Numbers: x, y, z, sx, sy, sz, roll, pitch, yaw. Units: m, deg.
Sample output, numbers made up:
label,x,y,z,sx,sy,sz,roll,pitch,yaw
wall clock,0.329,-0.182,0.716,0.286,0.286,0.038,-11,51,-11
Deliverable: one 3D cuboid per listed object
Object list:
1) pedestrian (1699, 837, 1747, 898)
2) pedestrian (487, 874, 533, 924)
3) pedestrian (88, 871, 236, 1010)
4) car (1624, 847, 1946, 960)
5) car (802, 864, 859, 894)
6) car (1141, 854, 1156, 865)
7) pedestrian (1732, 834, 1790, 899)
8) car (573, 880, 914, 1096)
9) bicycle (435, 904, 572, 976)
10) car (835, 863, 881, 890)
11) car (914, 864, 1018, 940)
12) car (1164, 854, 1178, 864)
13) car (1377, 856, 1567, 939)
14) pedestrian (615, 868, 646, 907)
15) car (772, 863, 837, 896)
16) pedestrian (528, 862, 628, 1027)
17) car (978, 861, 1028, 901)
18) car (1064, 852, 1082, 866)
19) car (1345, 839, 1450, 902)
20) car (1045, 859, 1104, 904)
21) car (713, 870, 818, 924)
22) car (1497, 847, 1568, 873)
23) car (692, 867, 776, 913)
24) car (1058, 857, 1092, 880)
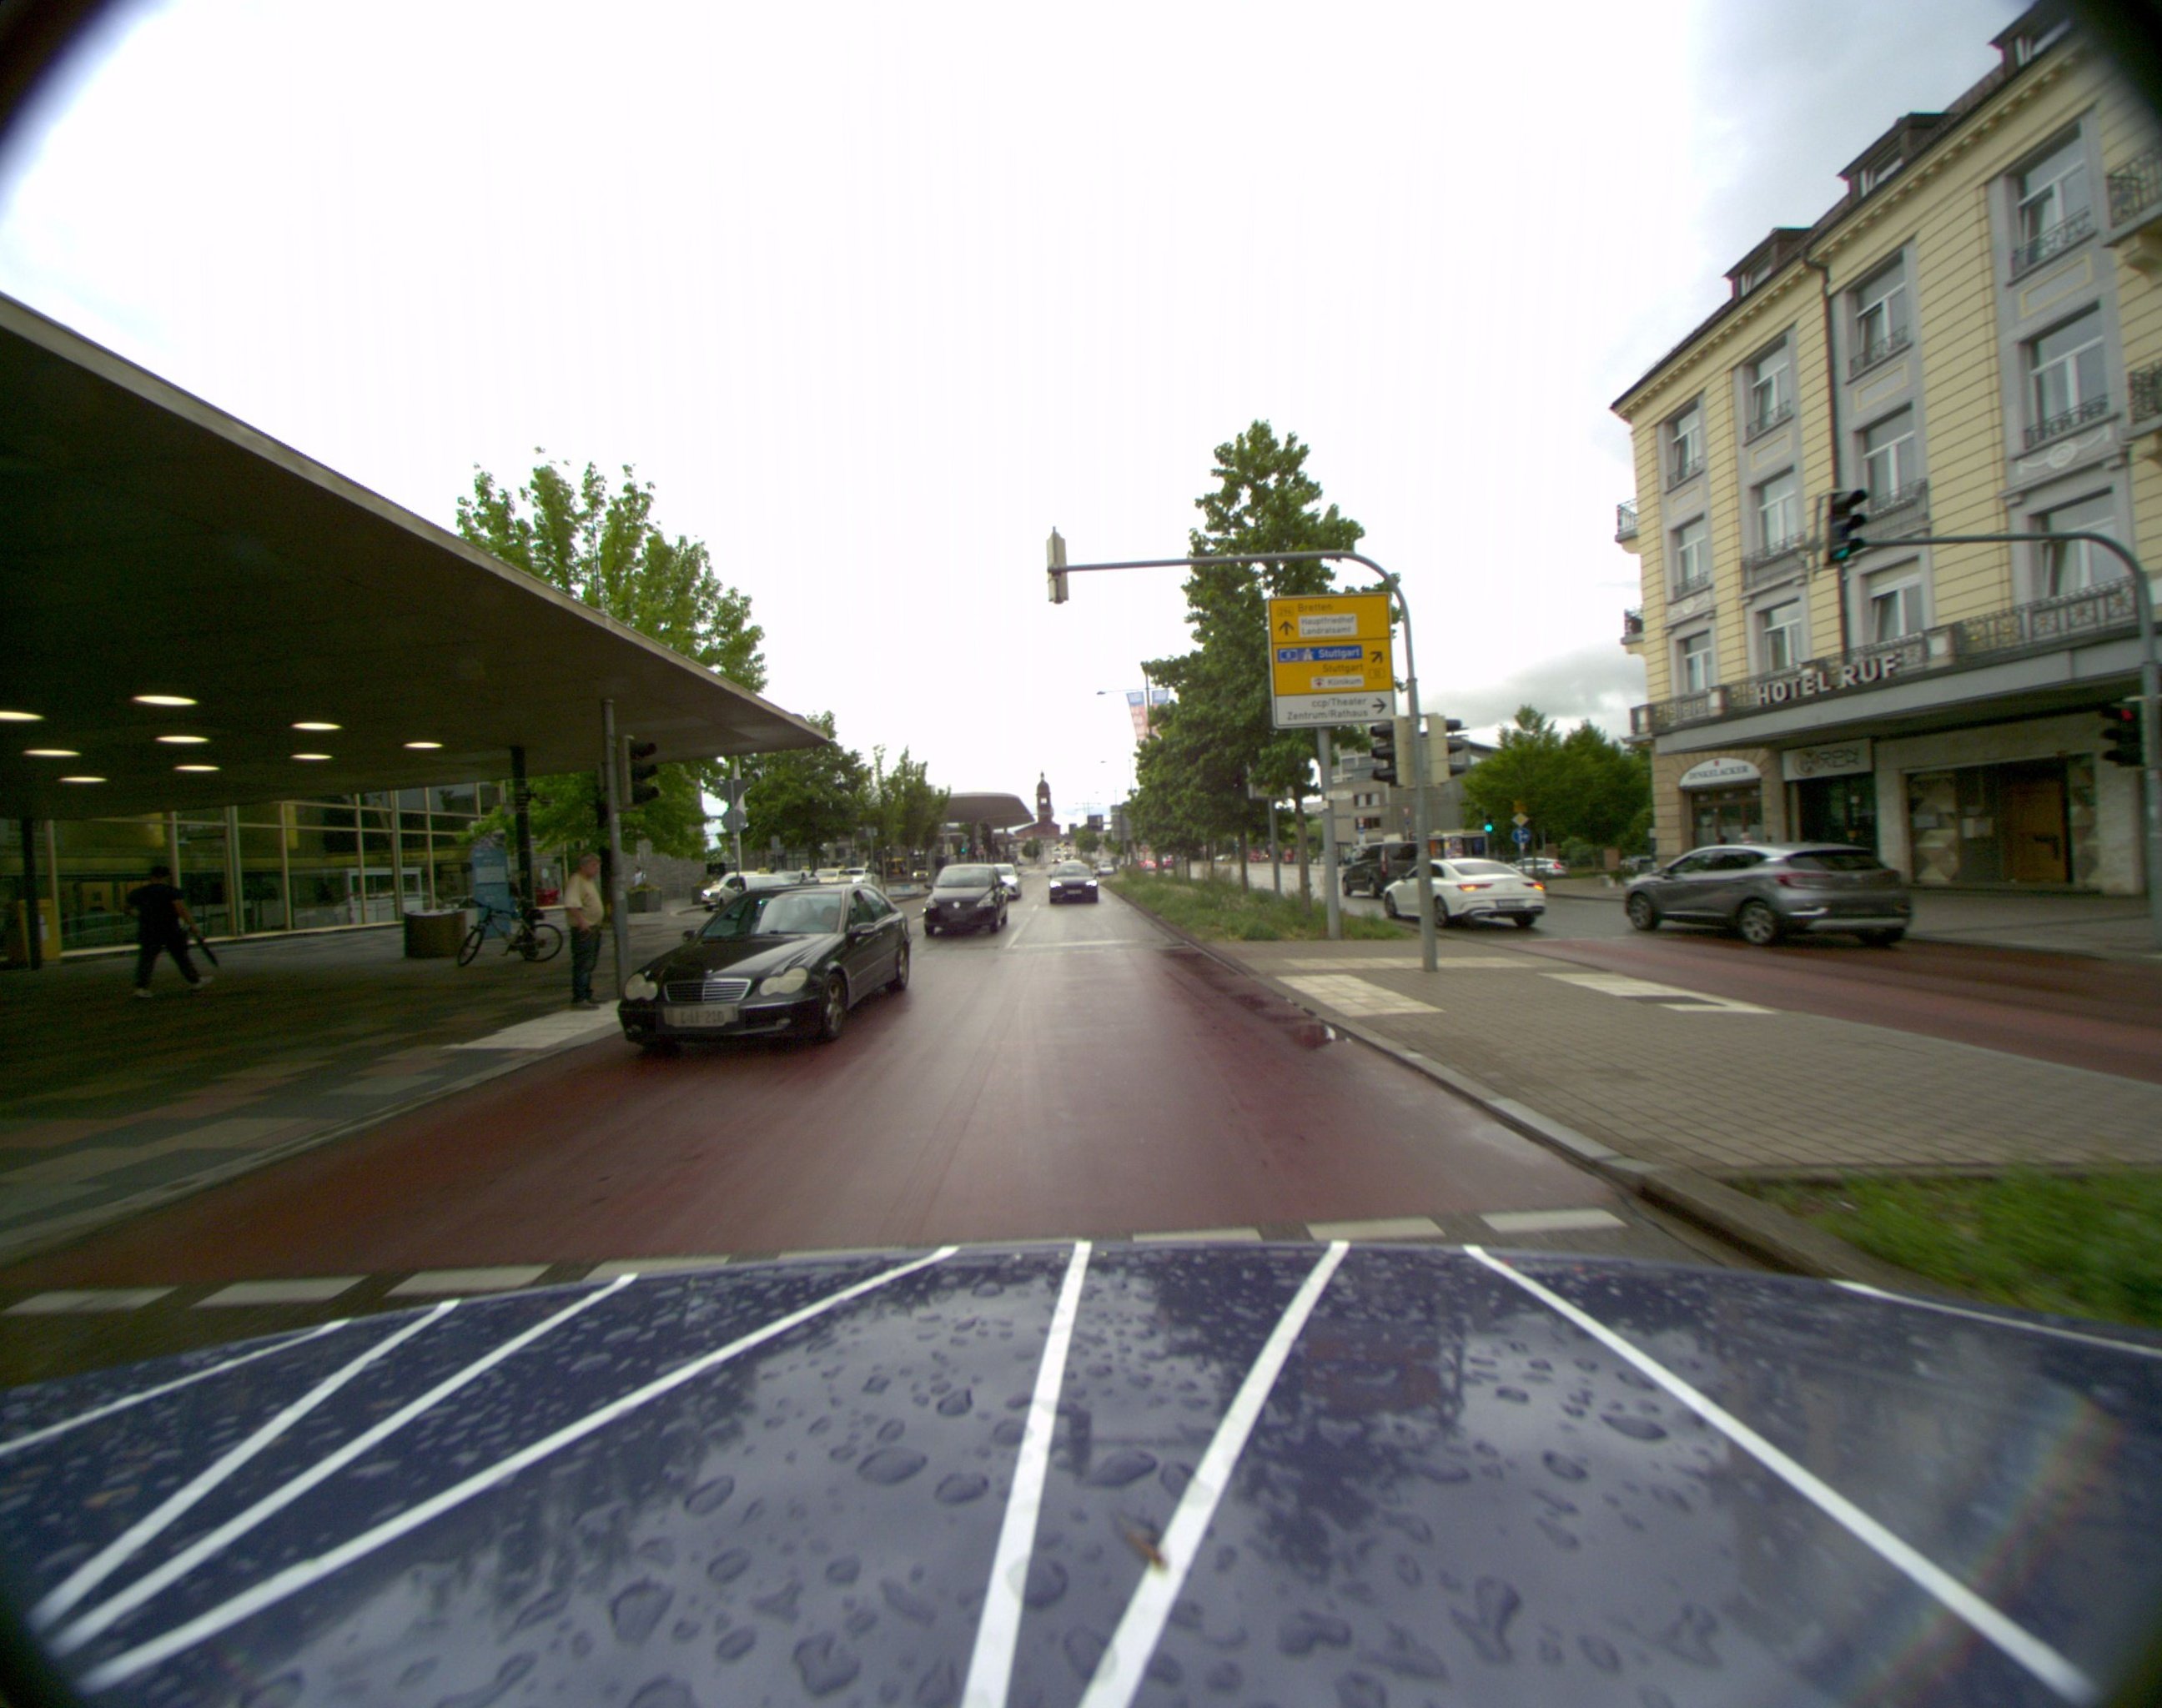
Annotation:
label,x,y,z,sx,sy,sz,roll,pitch,yaw
pedestrian,16.100,0.325,19.073,0.643,1.479,0.747,-3,0,19
pedestrian,-17.966,1.393,23.923,0.762,1.502,0.852,-2,1,1
pedestrian,-12.326,1.127,10.224,0.823,1.747,0.913,-2,1,7
car,10.989,0.686,12.308,1.767,1.499,3.843,-2,0,3
car,-14.300,1.400,43.640,1.820,1.482,4.464,-2,0,-2
car,9.879,0.798,110.867,1.983,1.438,3.909,-2,0,3
pedestrian,16.824,0.306,18.807,0.789,1.529,0.747,-3,0,19
car,-3.032,1.101,7.816,1.872,1.466,3.825,-2,0,-2
bicycle,-9.456,1.395,12.486,1.720,1.040,0.524,-1,1,-9
car,-14.355,1.405,49.173,1.820,1.581,4.076,-2,0,-2
car,-2.579,1.037,17.924,1.872,1.466,3.825,-2,0,-1
car,14.026,0.796,118.614,1.983,1.438,3.909,-2,0,3
car,8.112,0.818,16.309,1.846,1.455,4.373,-2,0,1
pedestrian,-19.520,1.449,32.931,0.762,1.639,0.852,-2,1,1
car,-14.049,1.270,38.835,1.820,1.482,4.169,-2,0,-2
pedestrian,-5.542,0.966,8.403,0.560,1.741,0.700,-1,1,7
car,-3.244,1.095,32.221,1.619,1.477,3.669,-2,0,1
car,-0.985,0.609,92.025,2.055,1.581,4.076,-2,0,-2
car,11.054,0.522,26.867,1.946,1.984,4.373,-2,0,2
car,-0.170,0.996,28.668,1.871,1.466,3.827,-2,0,4
car,-10.063,1.298,24.088,1.824,1.482,4.148,-2,1,-41
car,33.085,0.421,55.761,3.994,1.718,2.001,-2,0,10
car,-13.828,1.381,30.551,1.821,1.546,4.461,-2,0,-8
car,-0.363,0.954,51.249,1.983,1.438,3.909,-1,1,3
